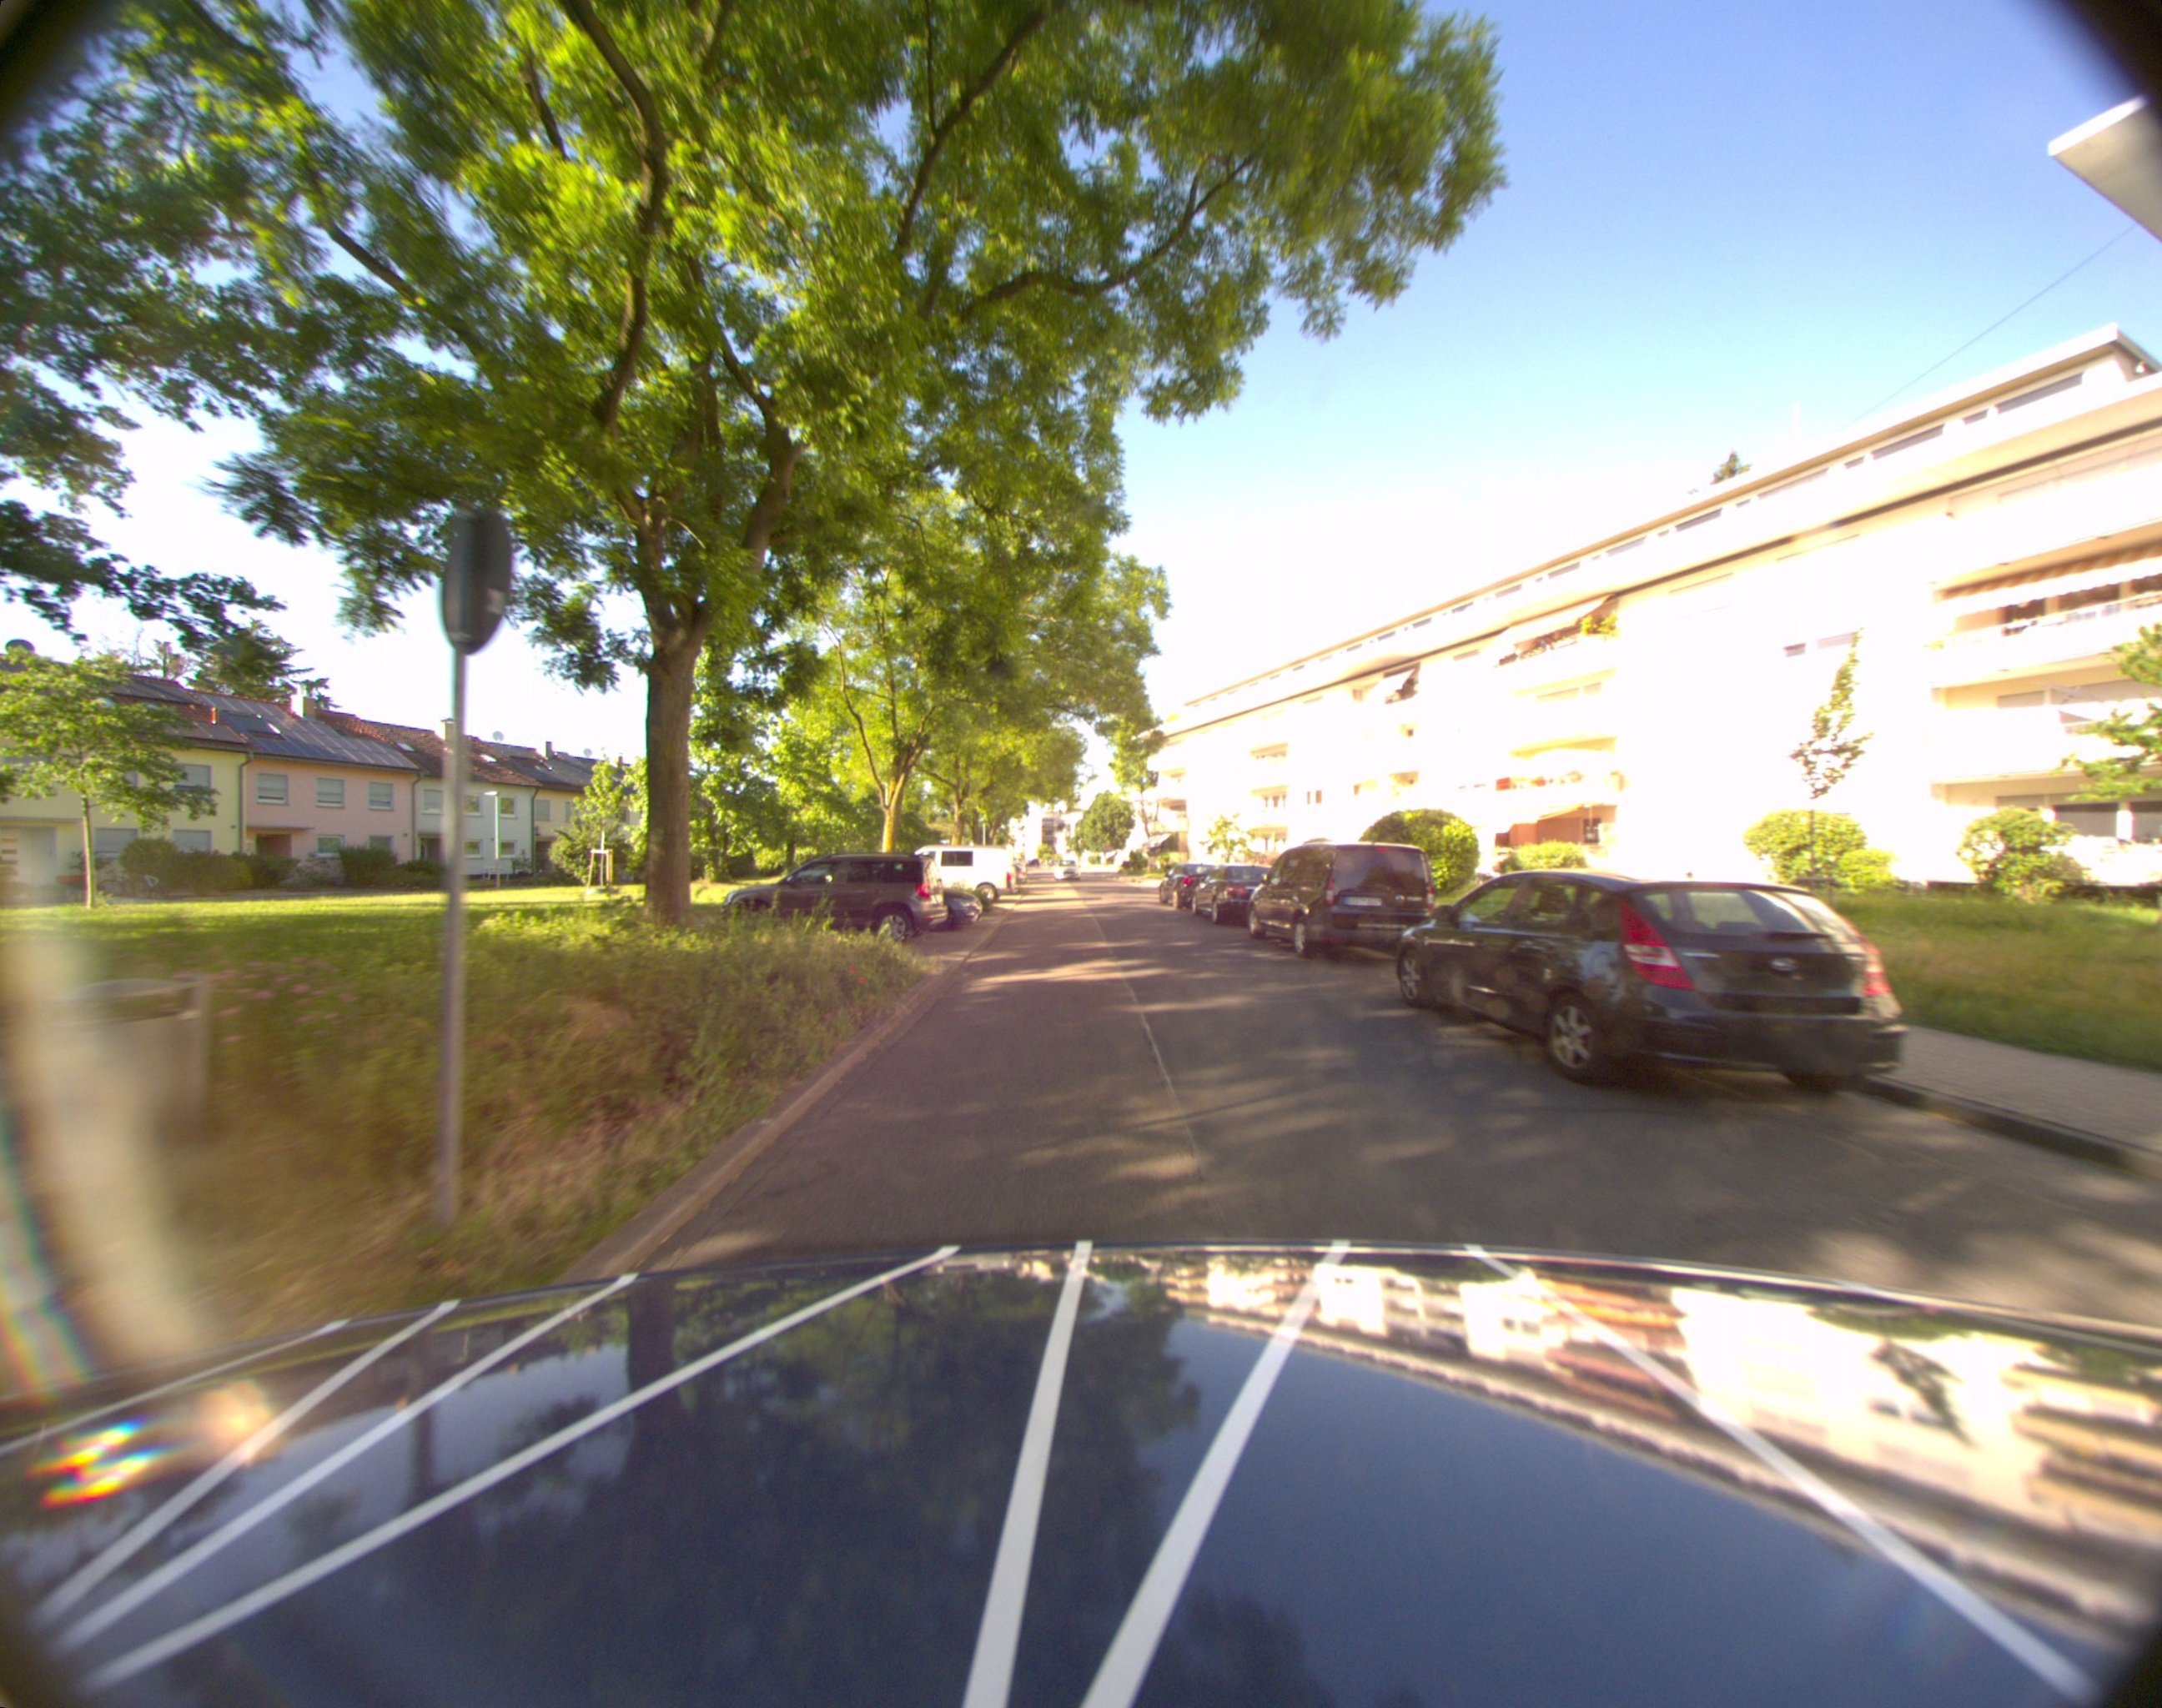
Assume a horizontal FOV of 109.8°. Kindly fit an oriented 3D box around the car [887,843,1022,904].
[{"bbox_3d":[-4.447,0.691,27.190,4.462,2.005,2.021,1,0,0],"label":"car"}]

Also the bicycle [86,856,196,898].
[{"bbox_3d":[-34.182,0.818,27.648,2.917,1.465,0.824,-1,1,0],"label":"bicycle"}]

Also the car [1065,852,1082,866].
[{"bbox_3d":[-1.168,0.718,110.663,2.008,1.837,4.613,-2,0,-6],"label":"car"}]

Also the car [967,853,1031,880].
[{"bbox_3d":[-5.336,0.796,49.690,4.053,1.754,1.745,0,0,-3],"label":"car"}]

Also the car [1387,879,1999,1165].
[{"bbox_3d":[4.245,1.007,6.283,1.844,1.446,4.019,2,0,1],"label":"car"}]

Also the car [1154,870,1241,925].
[{"bbox_3d":[3.639,1.330,24.664,1.845,1.473,4.799,1,0,-3],"label":"car"}]

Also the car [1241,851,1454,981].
[{"bbox_3d":[4.238,0.861,13.076,1.845,1.770,4.887,2,0,-1],"label":"car"}]

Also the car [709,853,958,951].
[{"bbox_3d":[-4.602,0.872,14.559,4.158,1.685,1.775,1,0,1],"label":"car"}]

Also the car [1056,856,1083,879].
[{"bbox_3d":[-0.842,0.901,53.373,1.597,1.417,4.168,3,0,-5],"label":"car"}]

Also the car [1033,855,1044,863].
[{"bbox_3d":[-8.832,1.014,157.871,1.796,1.535,4.048,-3,1,-12],"label":"car"}]

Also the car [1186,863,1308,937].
[{"bbox_3d":[3.977,1.046,19.037,1.845,1.473,4.574,3,0,-2],"label":"car"}]

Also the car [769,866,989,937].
[{"bbox_3d":[-4.396,1.025,17.046,4.463,1.406,1.774,1,0,-2],"label":"car"}]

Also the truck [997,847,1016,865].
[{"bbox_3d":[-12.149,0.344,123.431,2.765,2.785,8.261,2,0,-7],"label":"truck"}]

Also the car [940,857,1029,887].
[{"bbox_3d":[-4.959,0.935,39.622,4.492,1.463,1.745,1,0,-4],"label":"car"}]

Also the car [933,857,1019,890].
[{"bbox_3d":[-5.079,0.946,36.966,3.917,1.427,1.636,2,0,-1],"label":"car"}]

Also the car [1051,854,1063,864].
[{"bbox_3d":[-4.175,0.835,129.350,1.694,1.661,4.049,-1,0,-7],"label":"car"}]

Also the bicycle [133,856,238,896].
[{"bbox_3d":[-33.656,0.821,28.591,2.917,1.435,0.824,-1,1,0],"label":"bicycle"}]
